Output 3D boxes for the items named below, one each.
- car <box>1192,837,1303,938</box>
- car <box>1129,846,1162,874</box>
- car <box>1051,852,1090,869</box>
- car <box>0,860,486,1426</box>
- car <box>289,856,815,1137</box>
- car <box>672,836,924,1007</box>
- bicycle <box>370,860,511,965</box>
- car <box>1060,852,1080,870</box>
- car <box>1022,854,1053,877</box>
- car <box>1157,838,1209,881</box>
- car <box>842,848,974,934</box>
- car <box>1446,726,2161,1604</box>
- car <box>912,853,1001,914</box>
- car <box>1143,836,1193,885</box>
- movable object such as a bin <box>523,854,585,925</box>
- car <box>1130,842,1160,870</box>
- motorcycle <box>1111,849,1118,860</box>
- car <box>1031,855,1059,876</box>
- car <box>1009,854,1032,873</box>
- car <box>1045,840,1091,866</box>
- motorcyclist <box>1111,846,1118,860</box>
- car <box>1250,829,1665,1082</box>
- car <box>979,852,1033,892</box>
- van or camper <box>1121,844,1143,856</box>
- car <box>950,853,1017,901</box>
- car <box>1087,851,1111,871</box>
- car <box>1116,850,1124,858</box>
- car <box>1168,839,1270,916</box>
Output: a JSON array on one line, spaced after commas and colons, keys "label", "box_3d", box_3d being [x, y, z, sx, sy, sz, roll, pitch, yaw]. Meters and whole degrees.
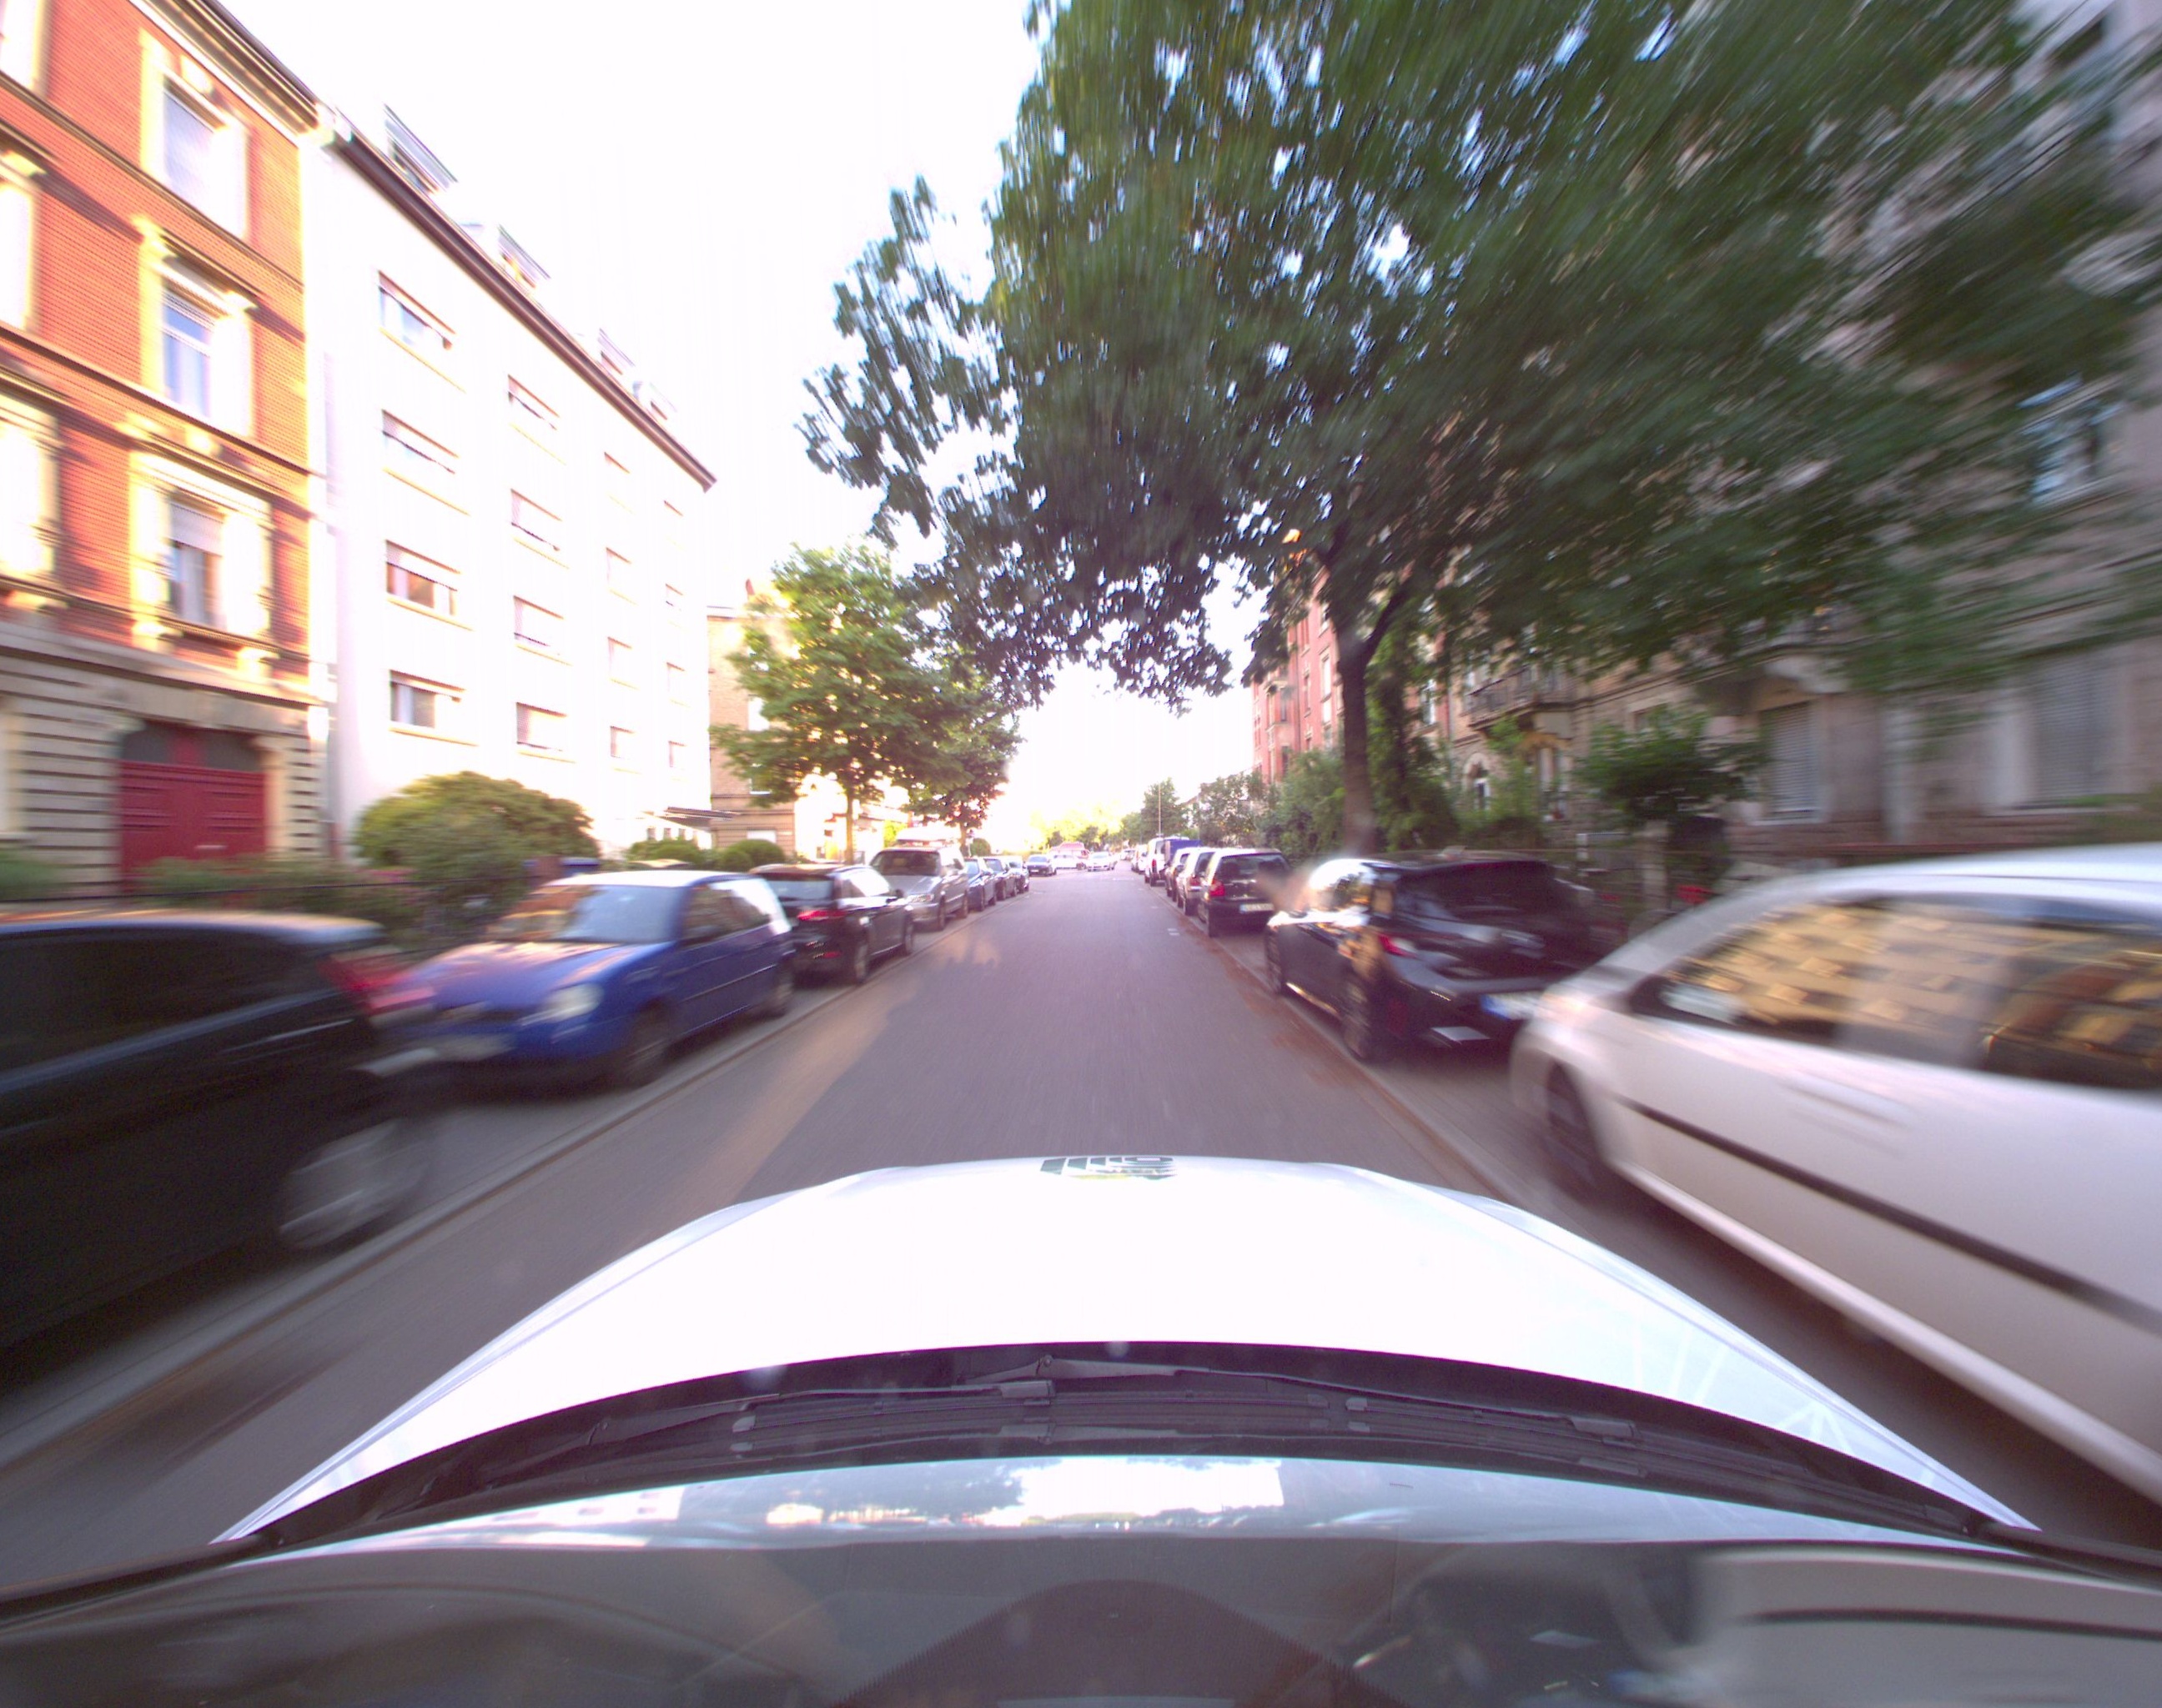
[{"label": "car", "box_3d": [2.951, 0.546, 15.128, 1.678, 1.606, 3.947, -1, 0, 7]}, {"label": "car", "box_3d": [4.022, 0.362, 51.117, 1.682, 1.606, 3.938, -1, 0, -1]}, {"label": "car", "box_3d": [-0.979, 0.614, 75.306, 3.609, 1.461, 1.605, -1, 1, -2]}, {"label": "car", "box_3d": [-3.882, 0.826, 2.167, 1.709, 1.566, 3.782, -1, 0, 2]}, {"label": "car", "box_3d": [-3.724, 0.844, 6.673, 1.709, 1.566, 3.790, -1, 1, 2]}, {"label": "car", "box_3d": [-3.424, 0.696, 10.792, 1.709, 1.790, 4.217, -1, 1, 2]}, {"label": "bicycle", "box_3d": [-8.020, 0.687, 10.288, 0.432, 1.185, 1.619, -1, 0, 2]}, {"label": "car", "box_3d": [-0.963, 0.591, 72.306, 1.711, 1.441, 3.629, -1, 1, -1]}, {"label": "car", "box_3d": [-2.899, 0.767, 54.990, 1.709, 1.486, 3.633, -1, -1, 3]}, {"label": "car", "box_3d": [3.919, 0.206, 31.615, 1.534, 1.521, 3.430, -1, 0, -1]}, {"label": "car", "box_3d": [-3.546, 0.683, 17.574, 1.709, 1.596, 4.521, -1, 0, 2]}, {"label": "car", "box_3d": [2.842, 0.554, 2.668, 1.680, 1.606, 3.750, -1, 0, 2]}, {"label": "car", "box_3d": [-3.374, 0.757, 22.747, 1.709, 1.465, 3.989, -1, 1, 2]}, {"label": "car", "box_3d": [3.708, 0.267, 35.318, 1.675, 1.941, 3.879, -1, 0, -1]}, {"label": "movable object such as a bin", "box_3d": [-10.539, 0.692, 16.311, 0.730, 1.362, 0.707, 1, 0, 8]}, {"label": "car", "box_3d": [4.358, 0.139, 56.010, 1.682, 1.811, 3.938, -1, 0, -1]}, {"label": "motorcycle", "box_3d": [4.049, 0.028, 98.568, 0.739, 1.250, 3.380, -2, 2, 2]}, {"label": "car", "box_3d": [-2.654, 0.800, 60.739, 1.709, 1.441, 3.633, -1, 1, 3]}, {"label": "car", "box_3d": [-5.004, 0.766, 67.923, 1.711, 1.441, 3.628, -2, 0, -1]}, {"label": "car", "box_3d": [-1.209, -0.119, 77.870, 4.336, 2.318, 1.745, -1, 0, 0]}, {"label": "motorcyclist", "box_3d": [4.070, -0.154, 99.216, 0.699, 1.630, 0.822, -2, 0, 2]}, {"label": "car", "box_3d": [2.725, 0.616, 7.061, 1.680, 1.441, 4.211, -3, 0, 2]}, {"label": "car", "box_3d": [-2.934, 0.688, 32.685, 1.592, 1.441, 3.840, -1, 1, 3]}, {"label": "van or camper", "box_3d": [12.480, -0.942, 200.088, 5.262, 2.791, 1.547, -1, 0, -10]}, {"label": "car", "box_3d": [-3.217, 0.737, 27.507, 1.709, 1.441, 3.632, -1, 1, 2]}, {"label": "car", "box_3d": [1.487, 0.546, 66.262, 1.806, 1.596, 3.484, -1, 1, 2]}, {"label": "car", "box_3d": [8.338, 0.013, 174.492, 1.709, 1.596, 3.484, -1, 1, 2]}, {"label": "car", "box_3d": [3.155, 0.507, 19.338, 1.682, 1.606, 3.938, -1, 0, -1]}]
